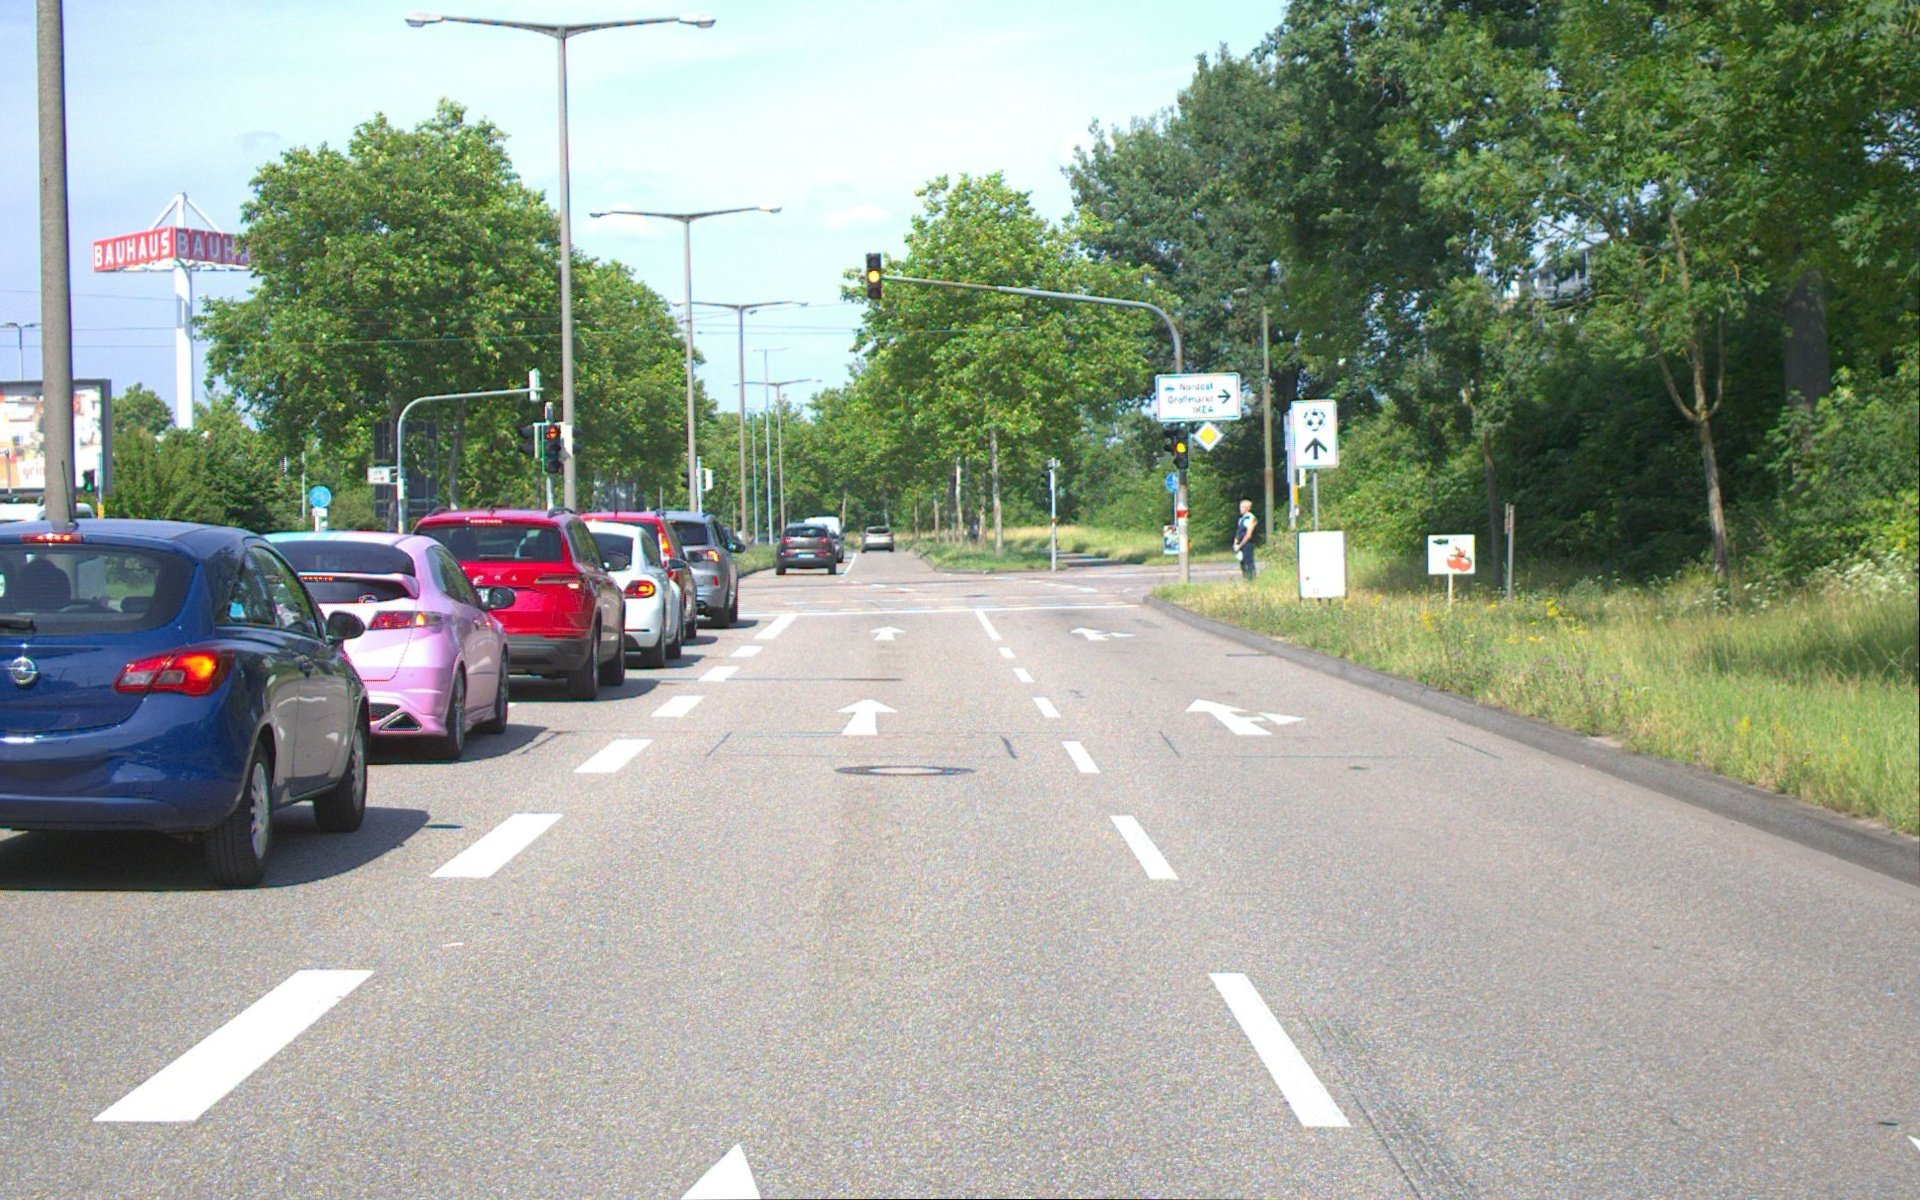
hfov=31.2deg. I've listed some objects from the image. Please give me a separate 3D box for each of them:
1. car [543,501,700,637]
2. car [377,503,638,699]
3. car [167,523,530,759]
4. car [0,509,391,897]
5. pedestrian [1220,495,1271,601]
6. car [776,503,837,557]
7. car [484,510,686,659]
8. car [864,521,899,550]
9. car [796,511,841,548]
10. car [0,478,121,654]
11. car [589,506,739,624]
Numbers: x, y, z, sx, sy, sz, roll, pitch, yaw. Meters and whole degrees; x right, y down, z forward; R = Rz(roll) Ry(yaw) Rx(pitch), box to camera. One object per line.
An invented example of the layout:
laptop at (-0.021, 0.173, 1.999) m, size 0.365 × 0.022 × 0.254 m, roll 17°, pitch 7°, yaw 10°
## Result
car at (-4.173, -0.378, 42.834) m, size 1.628 × 1.590 × 3.918 m, roll -1°, pitch 0°, yaw -1°
car at (-3.870, -0.050, 30.077) m, size 1.782 × 1.587 × 4.594 m, roll 0°, pitch 1°, yaw -1°
car at (-3.950, 0.196, 22.871) m, size 1.702 × 1.385 × 4.473 m, roll 1°, pitch 1°, yaw -1°
car at (-3.634, 0.345, 15.259) m, size 1.626 × 1.478 × 4.049 m, roll 1°, pitch 1°, yaw -1°
pedestrian at (5.270, -0.965, 63.449) m, size 0.837 × 1.926 × 0.772 m, roll -1°, pitch 3°, yaw -4°
car at (-4.780, -2.204, 107.446) m, size 1.736 × 1.530 × 4.001 m, roll 0°, pitch 4°, yaw -1°
car at (-3.902, -0.204, 36.341) m, size 1.766 × 1.474 × 4.136 m, roll 0°, pitch 1°, yaw -1°
car at (-4.439, -3.669, 194.298) m, size 1.867 × 1.568 × 4.000 m, roll -2°, pitch 1°, yaw -1°
car at (-6.728, -3.360, 164.039) m, size 1.993 × 1.702 × 4.263 m, roll -1°, pitch 1°, yaw 0°
car at (-11.833, -0.438, 41.835) m, size 1.993 × 2.006 × 5.214 m, roll -1°, pitch 2°, yaw -1°
car at (-4.209, -0.526, 49.494) m, size 1.881 × 1.612 × 4.213 m, roll 0°, pitch 1°, yaw -1°
